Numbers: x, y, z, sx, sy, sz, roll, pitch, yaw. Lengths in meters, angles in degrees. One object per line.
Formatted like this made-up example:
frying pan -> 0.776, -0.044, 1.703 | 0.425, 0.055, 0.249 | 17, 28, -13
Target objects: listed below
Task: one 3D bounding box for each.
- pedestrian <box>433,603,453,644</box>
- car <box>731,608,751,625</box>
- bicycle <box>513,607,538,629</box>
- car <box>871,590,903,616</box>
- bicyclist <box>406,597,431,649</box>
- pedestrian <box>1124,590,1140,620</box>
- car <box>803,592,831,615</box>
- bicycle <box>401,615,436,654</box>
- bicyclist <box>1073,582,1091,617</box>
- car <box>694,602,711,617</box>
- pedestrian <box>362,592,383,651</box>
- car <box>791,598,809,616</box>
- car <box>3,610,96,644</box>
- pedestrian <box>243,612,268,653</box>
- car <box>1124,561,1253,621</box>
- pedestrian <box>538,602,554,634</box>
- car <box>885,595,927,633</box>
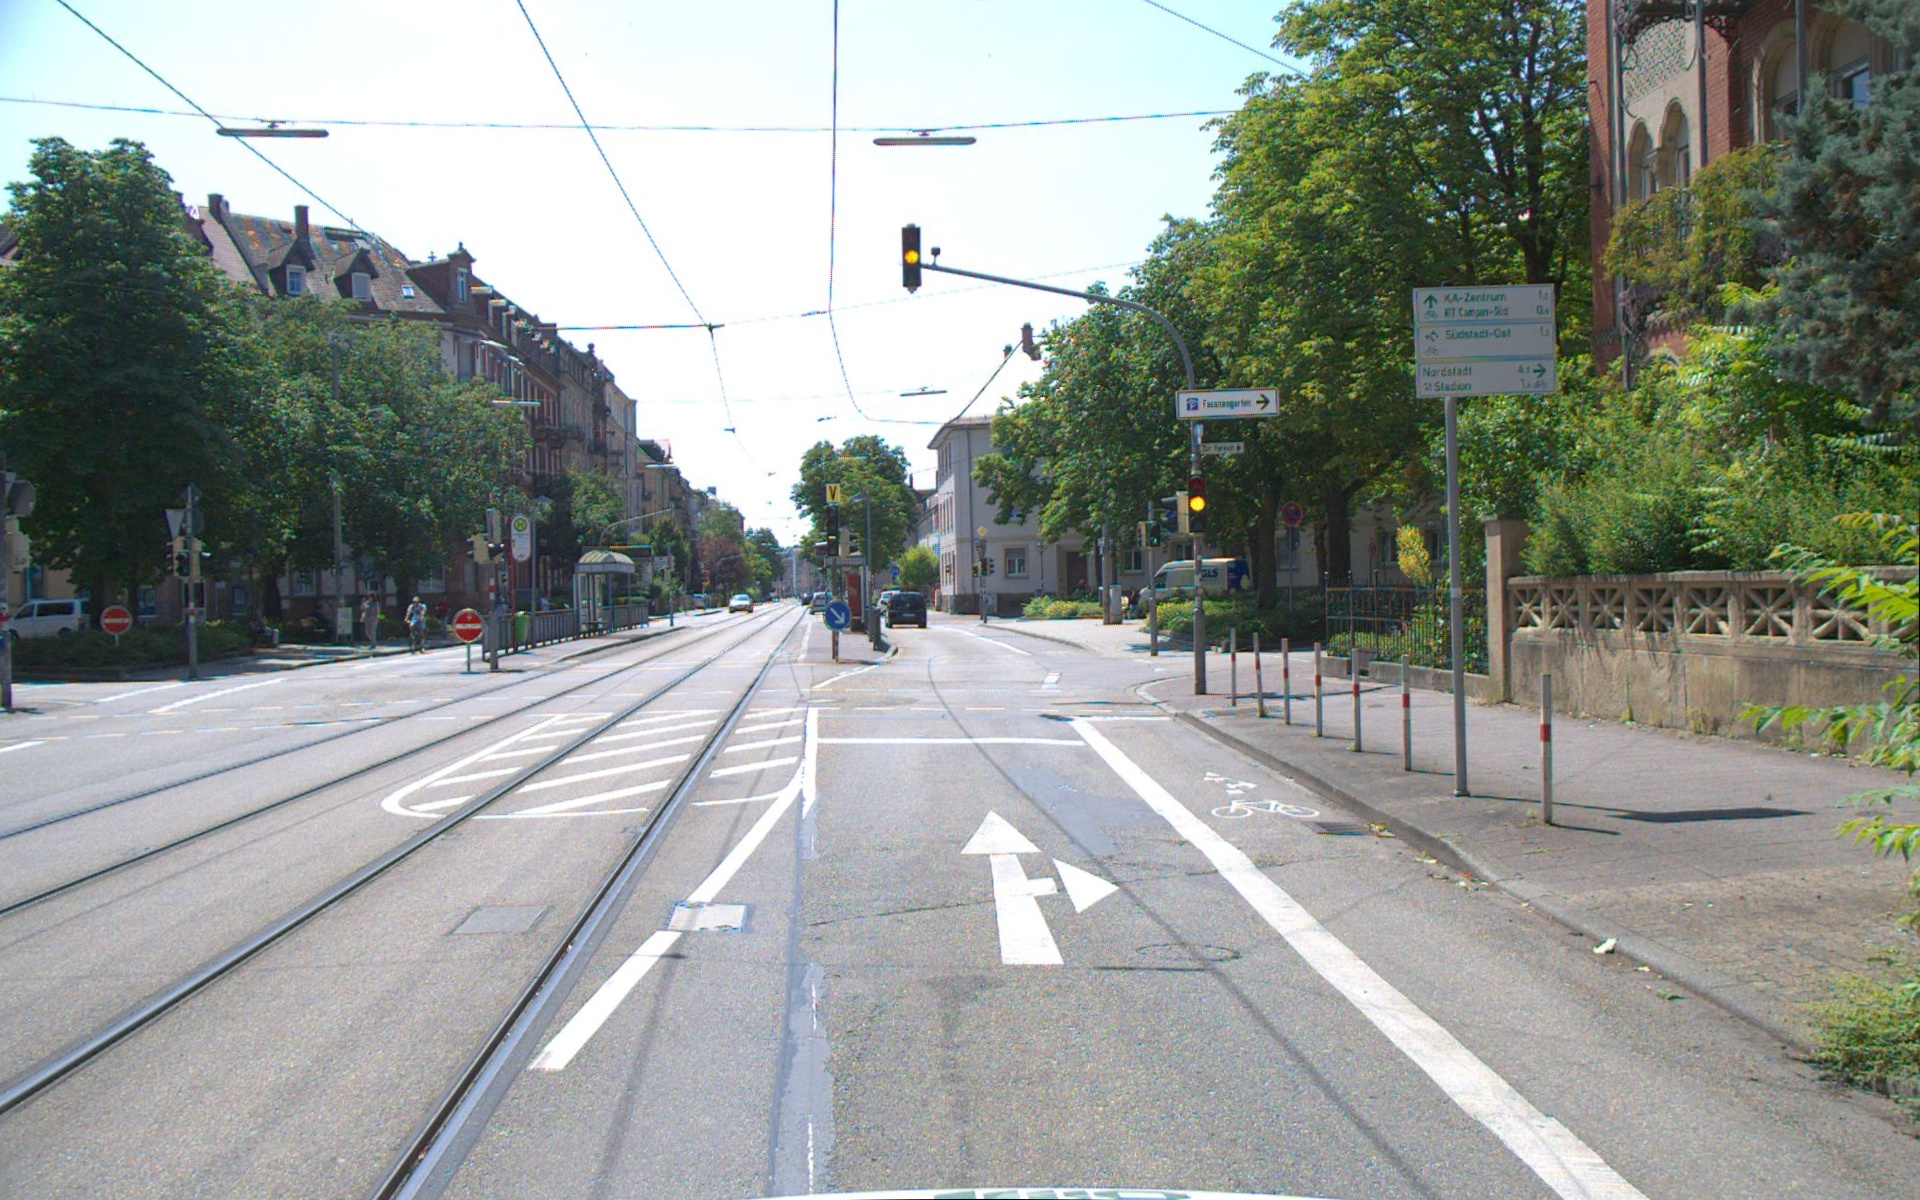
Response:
pedestrian -> -20.688, 0.929, 66.197 | 0.667, 1.633, 0.771 | -1, -1, -9
car -> -17.793, 1.317, 134.374 | 1.511, 1.362, 3.713 | -1, -1, -7
bicycle -> -23.840, 0.977, 90.768 | 0.357, 1.190, 1.515 | 0, 0, 32
car -> -4.657, 0.200, 105.567 | 1.714, 1.498, 3.933 | -5, 0, -6
bicyclist -> -16.982, 0.727, 51.879 | 0.596, 1.602, 0.584 | -1, -1, -6
pedestrian -> 6.457, 0.192, 62.104 | 0.499, 1.111, 0.478 | -3, 1, 0
car -> -9.737, 0.245, 112.455 | 1.497, 1.481, 3.356 | -3, 0, -11
bicycle -> -16.970, 1.064, 51.831 | 0.616, 1.177, 1.975 | -1, 0, -6
bicyclist -> 5.853, -0.034, 79.593 | 0.680, 1.675, 0.579 | -1, -1, 28
car -> -28.306, 1.077, 181.819 | 1.653, 1.498, 3.931 | -4, 0, -8
pedestrian -> -19.224, 0.710, 54.112 | 0.500, 1.912, 0.493 | -1, -1, -1
car -> -18.400, 0.811, 190.577 | 2.007, 2.049, 4.601 | -1, -1, -5
car -> -40.354, 1.182, 73.331 | 3.651, 1.467, 1.542 | -1, -1, 19
pedestrian -> -22.456, 1.027, 52.730 | 0.635, 1.278, 0.546 | -1, -1, 44
car -> 10.275, -0.373, 74.788 | 1.986, 2.635, 5.753 | -1, 0, -45
pedestrian -> -22.232, 0.963, 88.784 | 0.461, 1.643, 0.650 | 2, 1, 42
car -> -2.265, 0.579, 68.956 | 1.495, 1.469, 3.361 | -3, 0, -5
